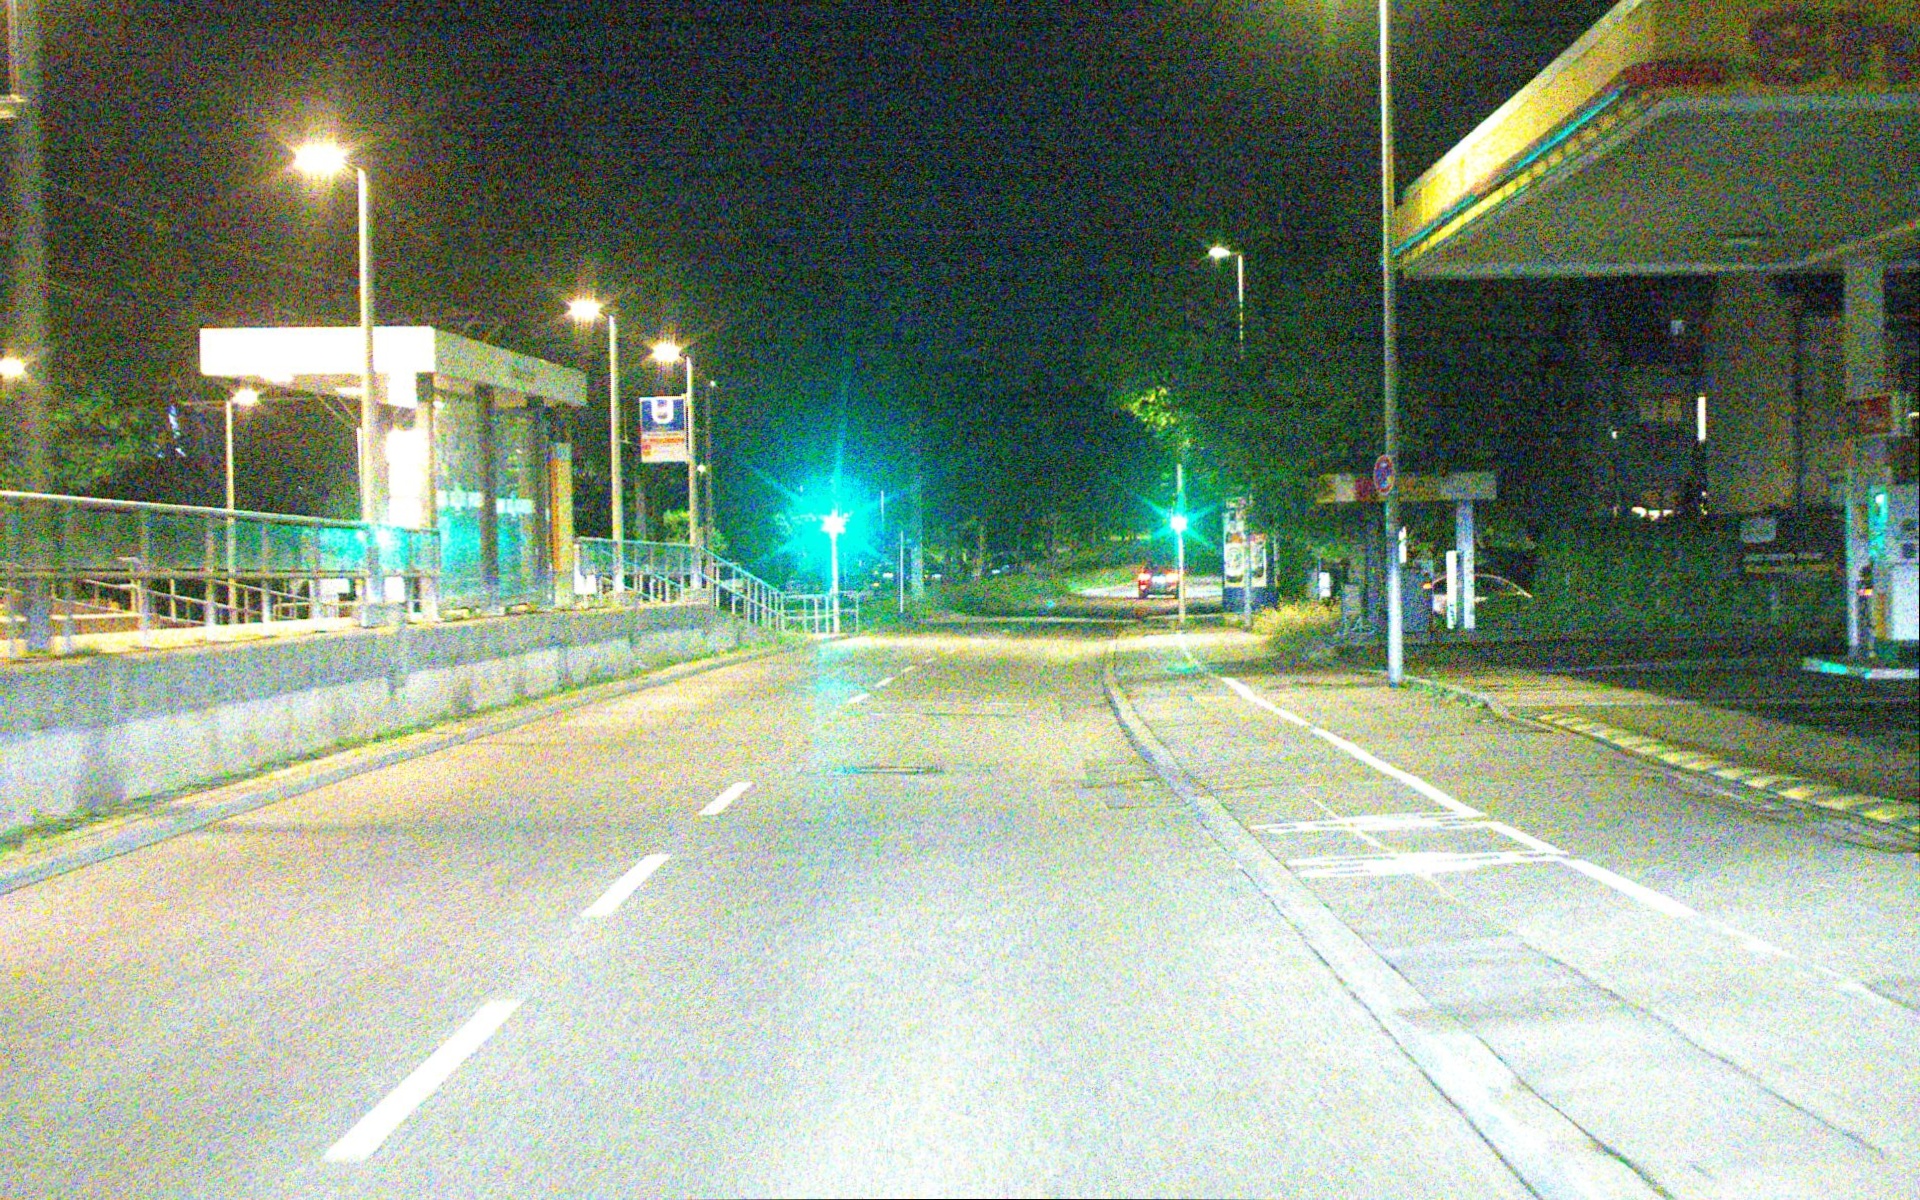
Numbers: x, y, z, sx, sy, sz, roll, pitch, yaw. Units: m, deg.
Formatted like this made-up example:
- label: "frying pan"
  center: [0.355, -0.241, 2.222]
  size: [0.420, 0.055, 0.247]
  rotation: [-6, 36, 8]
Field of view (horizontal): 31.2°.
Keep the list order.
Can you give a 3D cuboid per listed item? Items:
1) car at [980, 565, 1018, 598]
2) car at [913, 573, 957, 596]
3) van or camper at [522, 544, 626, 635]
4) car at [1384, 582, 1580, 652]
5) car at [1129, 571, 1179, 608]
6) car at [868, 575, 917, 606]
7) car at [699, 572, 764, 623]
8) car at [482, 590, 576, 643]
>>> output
- label: "car"
  center: [2.619, -1.249, 230.445]
  size: [2.092, 2.007, 3.999]
  rotation: [-4, 1, 6]
- label: "car"
  center: [-1.453, -0.916, 200.270]
  size: [1.994, 1.333, 5.431]
  rotation: [0, 0, 6]
- label: "van or camper"
  center: [-11.816, -0.344, 105.676]
  size: [2.272, 2.638, 5.664]
  rotation: [-3, 0, 2]
- label: "car"
  center: [10.528, 0.337, 69.561]
  size: [3.764, 1.349, 1.859]
  rotation: [-1, 0, 4]
- label: "car"
  center: [8.480, -0.450, 150.117]
  size: [2.162, 1.577, 4.013]
  rotation: [0, 0, 3]
- label: "car"
  center: [-3.518, -0.505, 180.561]
  size: [1.994, 1.622, 4.676]
  rotation: [0, 0, 6]
- label: "car"
  center: [-8.790, -0.105, 132.572]
  size: [1.857, 1.898, 4.879]
  rotation: [0, 0, 4]
- label: "car"
  center: [-12.413, 0.463, 99.278]
  size: [1.646, 1.335, 4.542]
  rotation: [-4, 0, 5]
